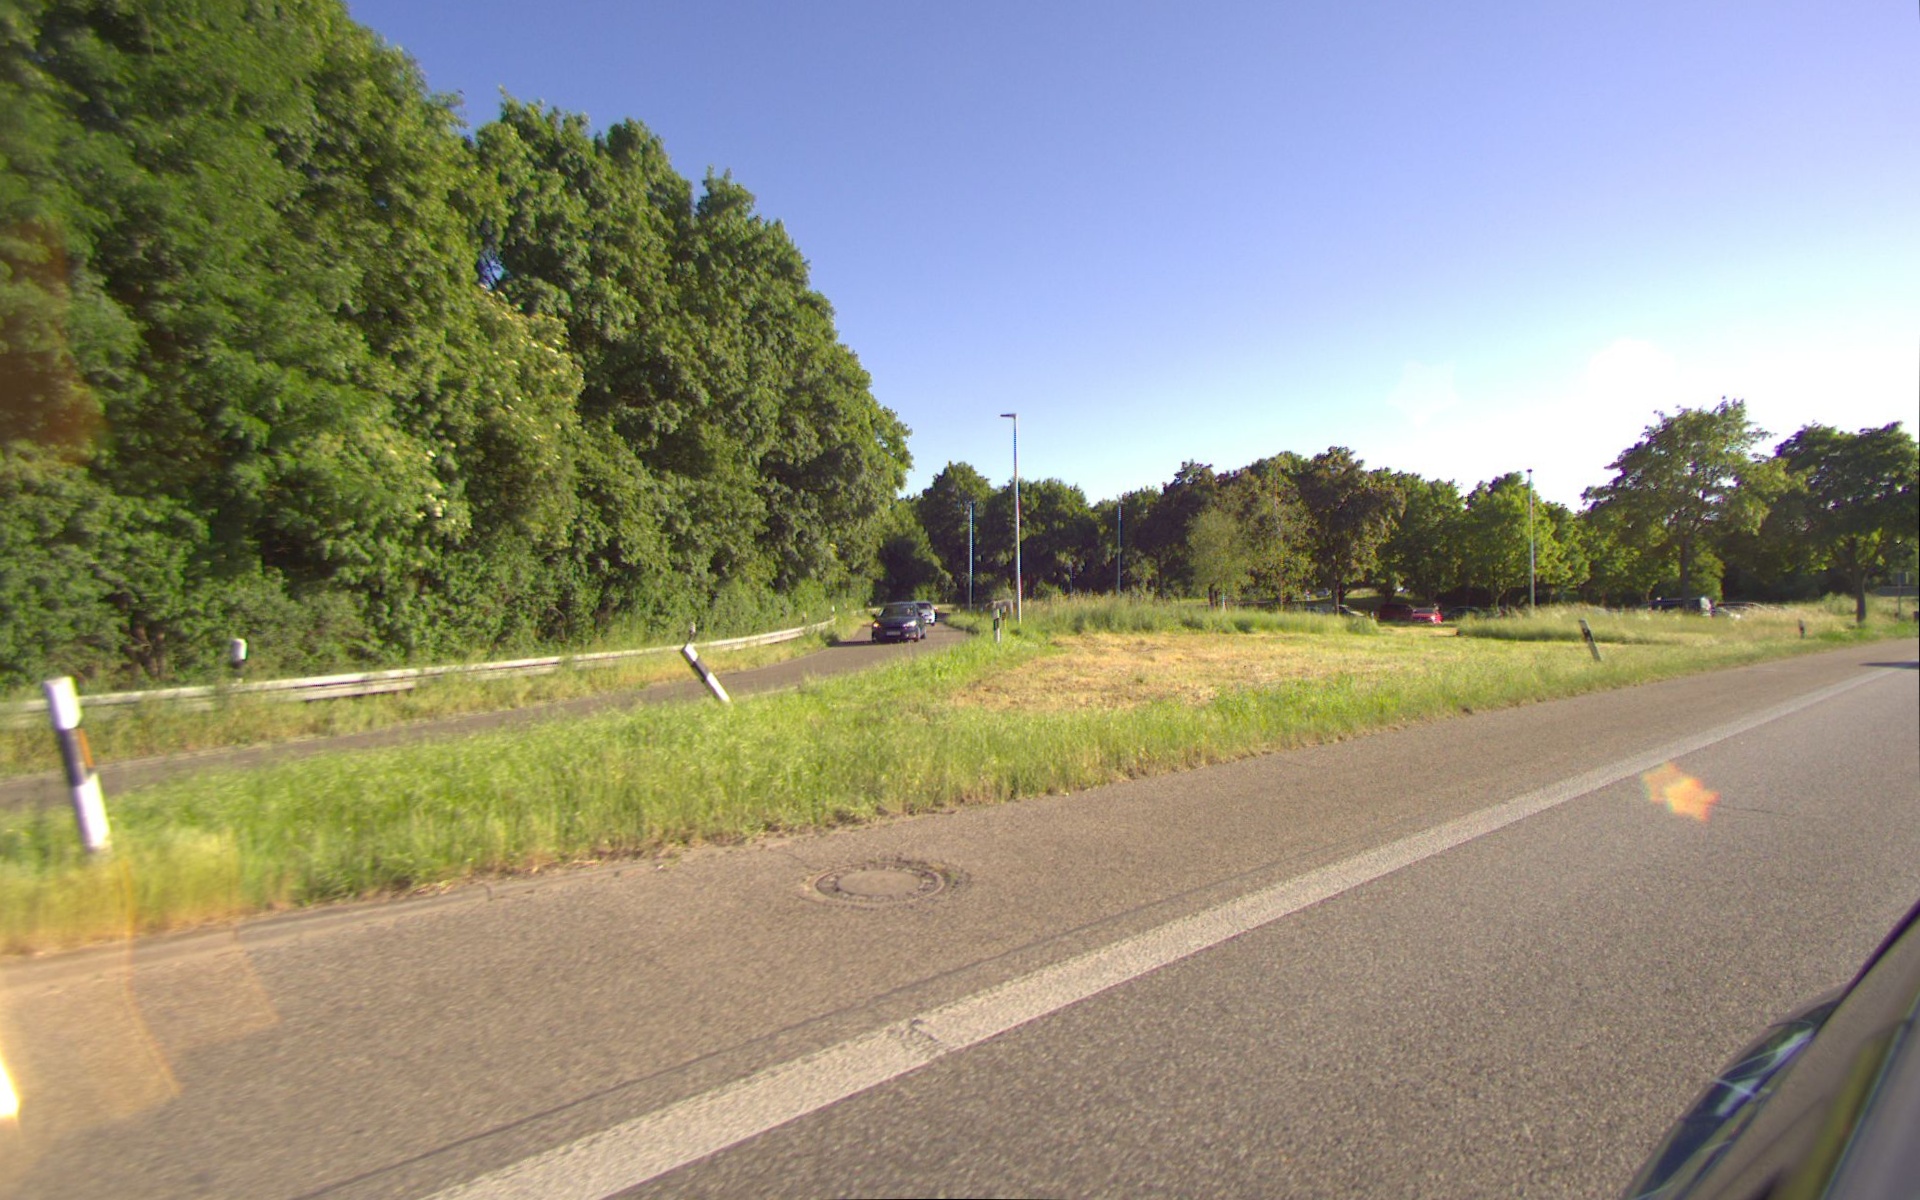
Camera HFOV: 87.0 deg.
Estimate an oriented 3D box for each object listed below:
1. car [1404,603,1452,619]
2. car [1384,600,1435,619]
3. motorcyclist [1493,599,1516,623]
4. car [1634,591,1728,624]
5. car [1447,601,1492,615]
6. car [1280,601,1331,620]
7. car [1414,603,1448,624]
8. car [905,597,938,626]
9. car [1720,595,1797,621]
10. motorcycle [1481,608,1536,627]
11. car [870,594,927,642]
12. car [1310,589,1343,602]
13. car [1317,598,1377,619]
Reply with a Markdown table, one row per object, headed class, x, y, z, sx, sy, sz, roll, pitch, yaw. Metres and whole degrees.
| class | x | y | z | sx | sy | sz | roll | pitch | yaw |
| --- | --- | --- | --- | --- | --- | --- | --- | --- | --- |
| car | 50.016 | 1.144 | 108.220 | 1.756 | 1.580 | 4.221 | -1 | -1 | -39 |
| car | 47.312 | 0.977 | 106.533 | 4.585 | 1.798 | 1.916 | 1 | 2 | 45 |
| motorcyclist | 33.099 | 0.670 | 61.542 | 1.079 | 1.466 | 0.815 | 0 | 0 | 17 |
| car | 52.034 | 0.555 | 73.121 | 2.052 | 2.163 | 5.051 | -1 | -2 | -31 |
| car | 57.031 | 0.905 | 113.379 | 1.835 | 1.441 | 4.116 | -4 | 2 | -41 |
| car | 30.384 | 0.926 | 88.992 | 4.172 | 1.580 | 1.776 | -1 | -1 | 19 |
| car | 34.793 | 0.973 | 74.723 | 1.691 | 1.481 | 4.099 | -1 | 0 | 33 |
| car | -2.372 | 0.712 | 61.581 | 1.726 | 1.593 | 4.146 | -4 | -1 | -4 |
| car | 67.711 | 0.671 | 85.870 | 1.992 | 2.048 | 4.796 | -4 | 2 | -41 |
| motorcycle | 33.289 | 1.047 | 61.474 | 2.798 | 1.083 | 0.814 | 0 | 0 | 19 |
| car | -2.251 | 0.637 | 38.121 | 1.728 | 1.593 | 4.141 | -4 | 0 | 1 |
| car | 48.442 | -0.567 | 133.696 | 3.918 | 1.597 | 1.912 | 0 | -1 | -27 |
| car | 37.396 | 0.816 | 97.898 | 1.922 | 1.889 | 5.202 | -1 | 1 | -39 |
